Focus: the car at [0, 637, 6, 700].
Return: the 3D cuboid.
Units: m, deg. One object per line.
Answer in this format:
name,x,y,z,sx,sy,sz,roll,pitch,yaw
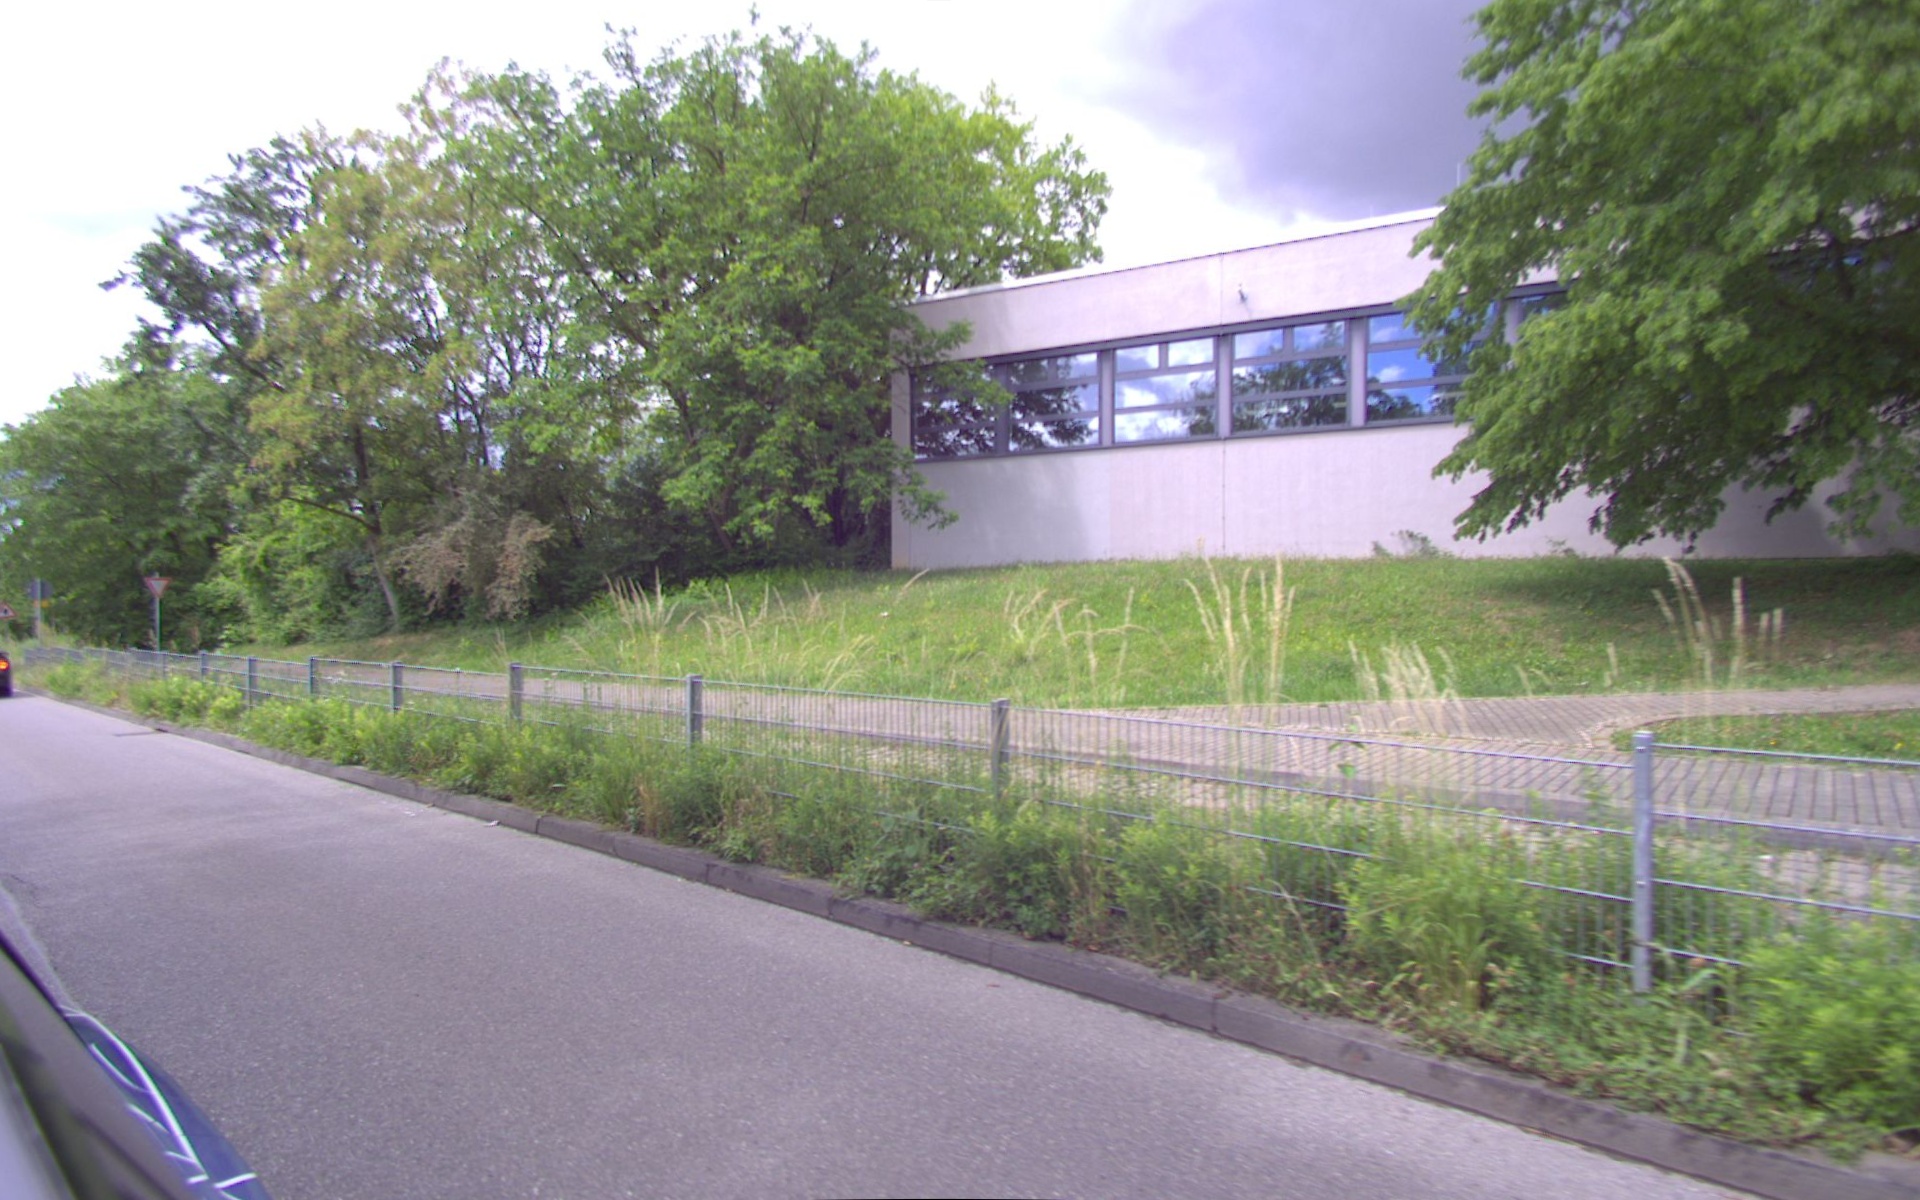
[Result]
car,-22.541,1.512,22.536,3.999,1.342,1.599,-1,-1,42
